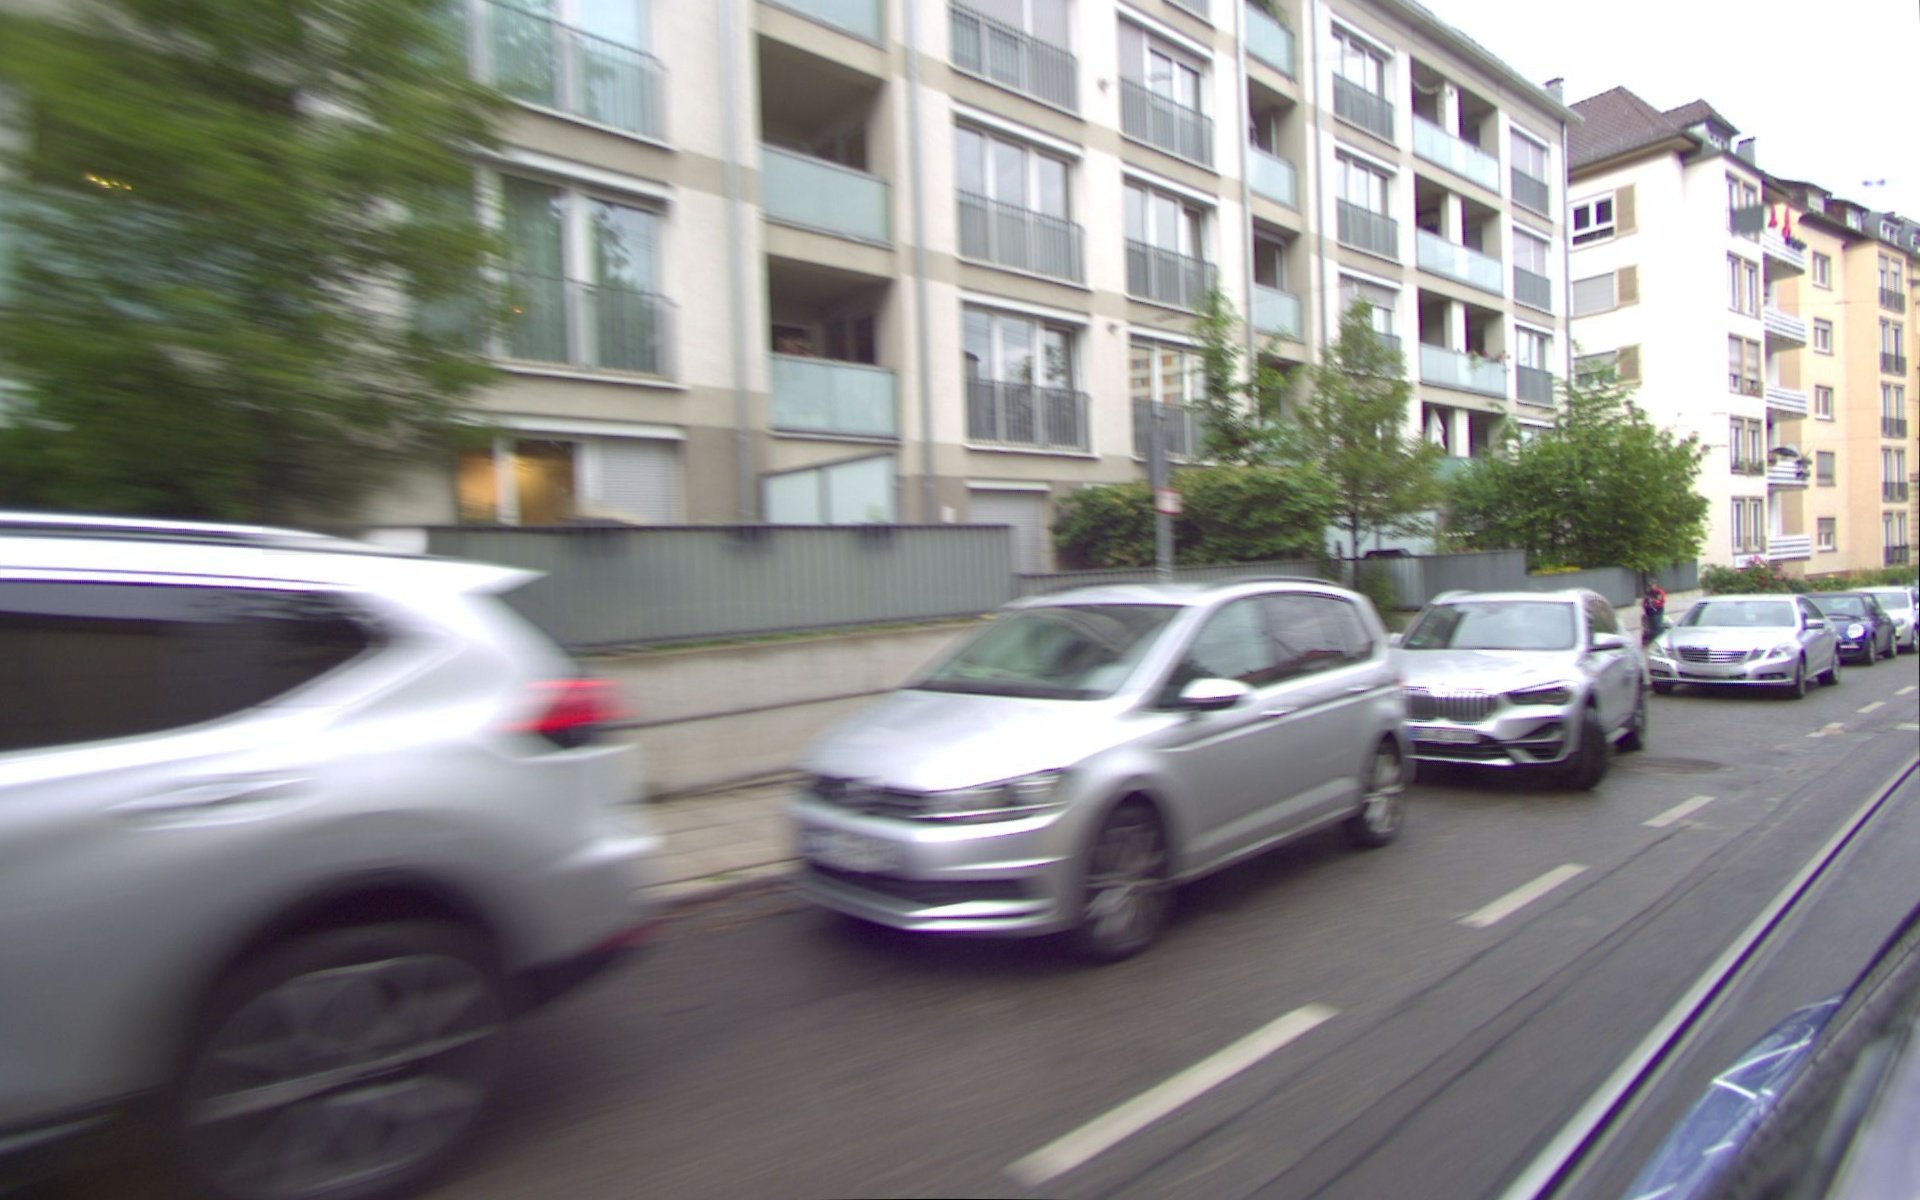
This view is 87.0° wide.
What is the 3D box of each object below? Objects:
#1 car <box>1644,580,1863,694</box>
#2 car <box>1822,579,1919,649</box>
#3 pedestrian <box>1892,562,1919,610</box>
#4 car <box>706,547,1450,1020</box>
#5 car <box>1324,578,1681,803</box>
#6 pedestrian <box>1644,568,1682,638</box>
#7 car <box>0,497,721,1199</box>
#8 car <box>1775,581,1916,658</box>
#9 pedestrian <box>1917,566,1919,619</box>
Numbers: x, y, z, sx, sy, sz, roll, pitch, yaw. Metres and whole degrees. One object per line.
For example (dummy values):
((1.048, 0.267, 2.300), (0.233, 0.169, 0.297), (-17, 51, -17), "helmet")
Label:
((12.549, 0.497, 15.889), (4.706, 1.535, 1.861), (0, -1, -41), "car")
((21.676, 0.298, 23.447), (4.309, 1.486, 1.722), (0, -1, -37), "car")
((31.852, -0.476, 33.925), (0.897, 1.588, 0.668), (-1, 2, -33), "pedestrian")
((1.038, 0.640, 5.831), (1.832, 1.648, 4.588), (-1, -1, 45), "car")
((5.313, 0.650, 9.585), (1.973, 1.605, 4.497), (-1, -1, 42), "car")
((16.471, 0.052, 23.719), (0.575, 1.606, 0.566), (1, 1, 18), "pedestrian")
((-3.032, 0.660, 2.202), (4.610, 1.677, 1.833), (-1, -1, -44), "car")
((18.013, 0.363, 20.558), (3.452, 1.442, 1.599), (0, -1, -39), "car")
((31.500, -0.237, 32.658), (0.652, 1.734, 0.718), (-1, 2, -33), "pedestrian")
